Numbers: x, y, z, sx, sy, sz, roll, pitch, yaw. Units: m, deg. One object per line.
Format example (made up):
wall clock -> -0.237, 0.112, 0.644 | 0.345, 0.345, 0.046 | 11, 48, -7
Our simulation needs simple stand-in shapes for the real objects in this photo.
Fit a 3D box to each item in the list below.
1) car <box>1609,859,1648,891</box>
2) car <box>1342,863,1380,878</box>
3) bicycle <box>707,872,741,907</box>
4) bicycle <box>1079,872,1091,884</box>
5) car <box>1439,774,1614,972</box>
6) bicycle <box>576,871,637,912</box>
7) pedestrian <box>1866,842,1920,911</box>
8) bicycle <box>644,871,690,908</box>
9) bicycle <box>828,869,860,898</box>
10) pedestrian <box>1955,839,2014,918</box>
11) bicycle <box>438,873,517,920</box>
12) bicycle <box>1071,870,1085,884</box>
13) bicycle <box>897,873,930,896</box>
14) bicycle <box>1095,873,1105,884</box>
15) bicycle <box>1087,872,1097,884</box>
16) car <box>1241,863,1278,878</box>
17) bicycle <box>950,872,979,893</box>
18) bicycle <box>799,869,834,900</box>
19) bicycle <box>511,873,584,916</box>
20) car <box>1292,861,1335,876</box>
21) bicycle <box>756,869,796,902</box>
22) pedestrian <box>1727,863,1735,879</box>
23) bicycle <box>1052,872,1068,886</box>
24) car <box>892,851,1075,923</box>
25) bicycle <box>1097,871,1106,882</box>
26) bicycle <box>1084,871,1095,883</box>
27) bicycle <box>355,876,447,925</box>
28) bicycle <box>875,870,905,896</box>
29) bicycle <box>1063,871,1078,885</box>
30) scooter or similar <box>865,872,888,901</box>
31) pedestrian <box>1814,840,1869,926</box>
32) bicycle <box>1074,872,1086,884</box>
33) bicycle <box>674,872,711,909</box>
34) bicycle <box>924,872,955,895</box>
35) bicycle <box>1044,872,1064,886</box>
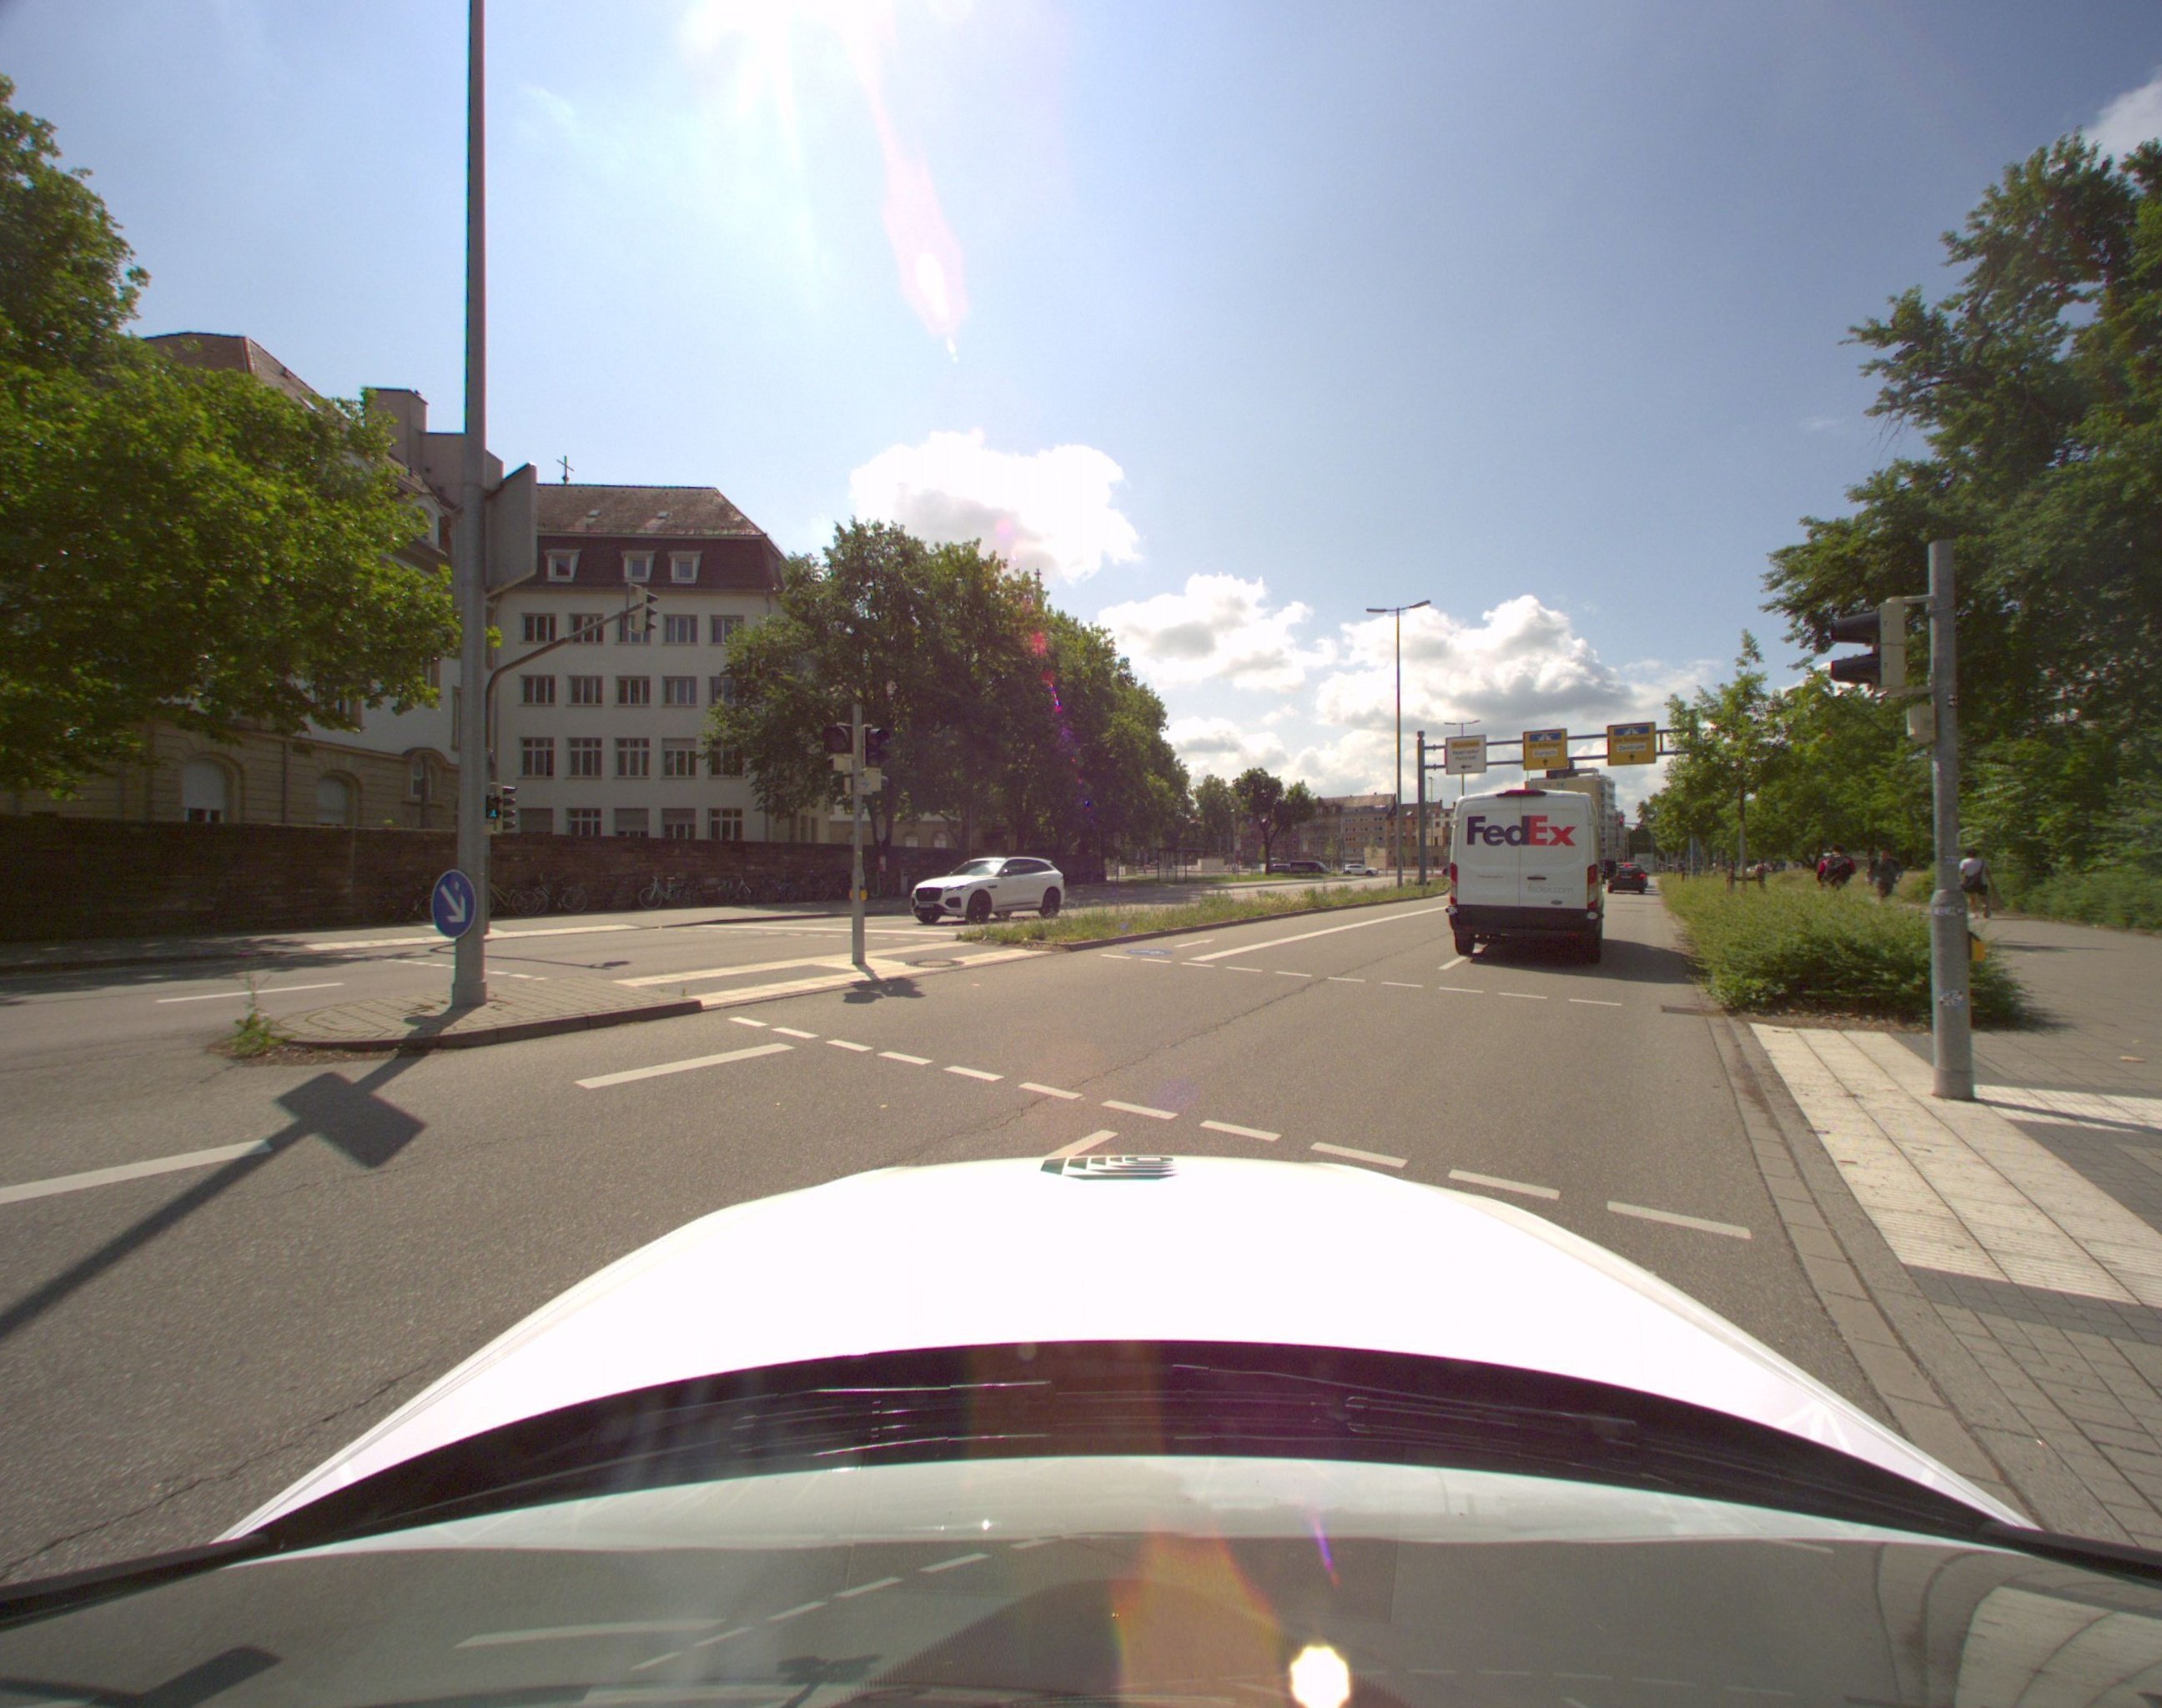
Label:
car -> 31.169, 1.160, 46.355 | 1.794, 1.734, 4.416 | 0, 0, 34
car -> 36.176, 2.138, 105.307 | 4.315, 1.794, 2.012 | -1, -2, 30
bicycle -> -12.118, 1.198, 27.681 | 0.400, 1.152, 1.595 | -1, -1, 2
bicycle -> 0.314, 1.854, 63.153 | 0.540, 0.902, 1.671 | -1, -1, 14
car -> 7.755, 0.285, 13.873 | 2.120, 2.653, 5.740 | -1, -1, 33
bicycle -> -14.167, 1.099, 24.359 | 0.408, 1.152, 1.604 | -1, -1, 29
pedestrian -> 20.704, 0.572, 20.788 | 0.805, 1.722, 0.935 | -1, -1, 35
bicycle -> -13.249, 1.124, 26.090 | 0.399, 1.152, 1.599 | -1, -1, 11
bicycle -> -9.628, 1.197, 33.147 | 0.528, 1.152, 1.600 | -1, -1, 13
pedestrian -> 20.150, 0.545, 18.182 | 0.715, 1.722, 0.752 | -1, -1, 35
bicycle -> -15.616, 1.086, 21.107 | 0.494, 1.152, 1.603 | -1, -1, 26
bicycle -> -0.205, 1.682, 59.755 | 0.539, 1.051, 1.631 | -1, -1, 17
bicycle -> -7.755, 1.395, 37.736 | 0.476, 1.008, 1.812 | -1, -1, 25
bicycle -> 1.618, 2.068, 70.101 | 0.540, 0.902, 1.671 | -1, -1, 14
bicycle -> 0.927, 1.946, 66.594 | 0.449, 0.902, 1.801 | -1, -1, 14
car -> 24.523, 2.239, 111.802 | 4.584, 2.014, 2.112 | -1, -2, 30
bicycle -> -5.961, 1.437, 41.710 | 0.539, 1.048, 1.906 | -1, -1, 22
bicycle -> -10.201, 1.155, 31.425 | 0.528, 1.152, 1.600 | -1, -1, 13
bicycle -> -14.839, 1.107, 22.674 | 0.615, 1.152, 1.603 | -1, -1, 26
car -> 29.460, 1.825, 103.186 | 4.960, 1.879, 1.941 | -1, -1, 31
bicycle -> -11.215, 1.139, 29.977 | 0.398, 1.152, 1.603 | -1, -1, 23
pedestrian -> 52.235, 1.368, 65.441 | 0.354, 1.260, 0.395 | -1, -2, 28
bicycle -> -1.447, 1.705, 55.456 | 0.539, 0.902, 1.673 | -1, -1, 19
car -> -2.407, 0.793, 21.334 | 2.051, 1.667, 4.805 | -1, -1, 35
bicycle -> 1.833, 1.972, 72.185 | 0.540, 0.902, 1.669 | 0, -1, 9
bicycle -> 0.667, 1.848, 64.821 | 0.540, 0.902, 1.671 | -1, -1, 14
bicycle -> -16.336, 1.102, 19.596 | 0.566, 1.099, 1.603 | -1, -1, 26
bicycle -> -8.457, 1.276, 36.145 | 0.428, 1.143, 1.603 | -1, -1, 22
bicycle -> -0.729, 1.693, 58.134 | 0.539, 0.951, 1.673 | -1, -1, 18
scooter or similar -> -8.554, 1.347, 34.125 | 0.429, 1.152, 1.197 | -1, -1, 14
pedestrian -> 15.775, 0.591, 16.911 | 0.709, 1.722, 0.842 | -1, -1, 35
bicycle -> -0.069, 1.804, 61.464 | 0.540, 0.902, 1.671 | -1, -1, 14
bicycle -> -12.682, 1.172, 26.600 | 0.400, 1.152, 1.595 | -1, -1, 2
bicycle -> -6.881, 1.414, 39.716 | 0.539, 1.048, 1.960 | -1, -1, 22
bicycle -> -1.786, 1.655, 53.563 | 0.497, 0.902, 1.676 | -1, -1, 31
